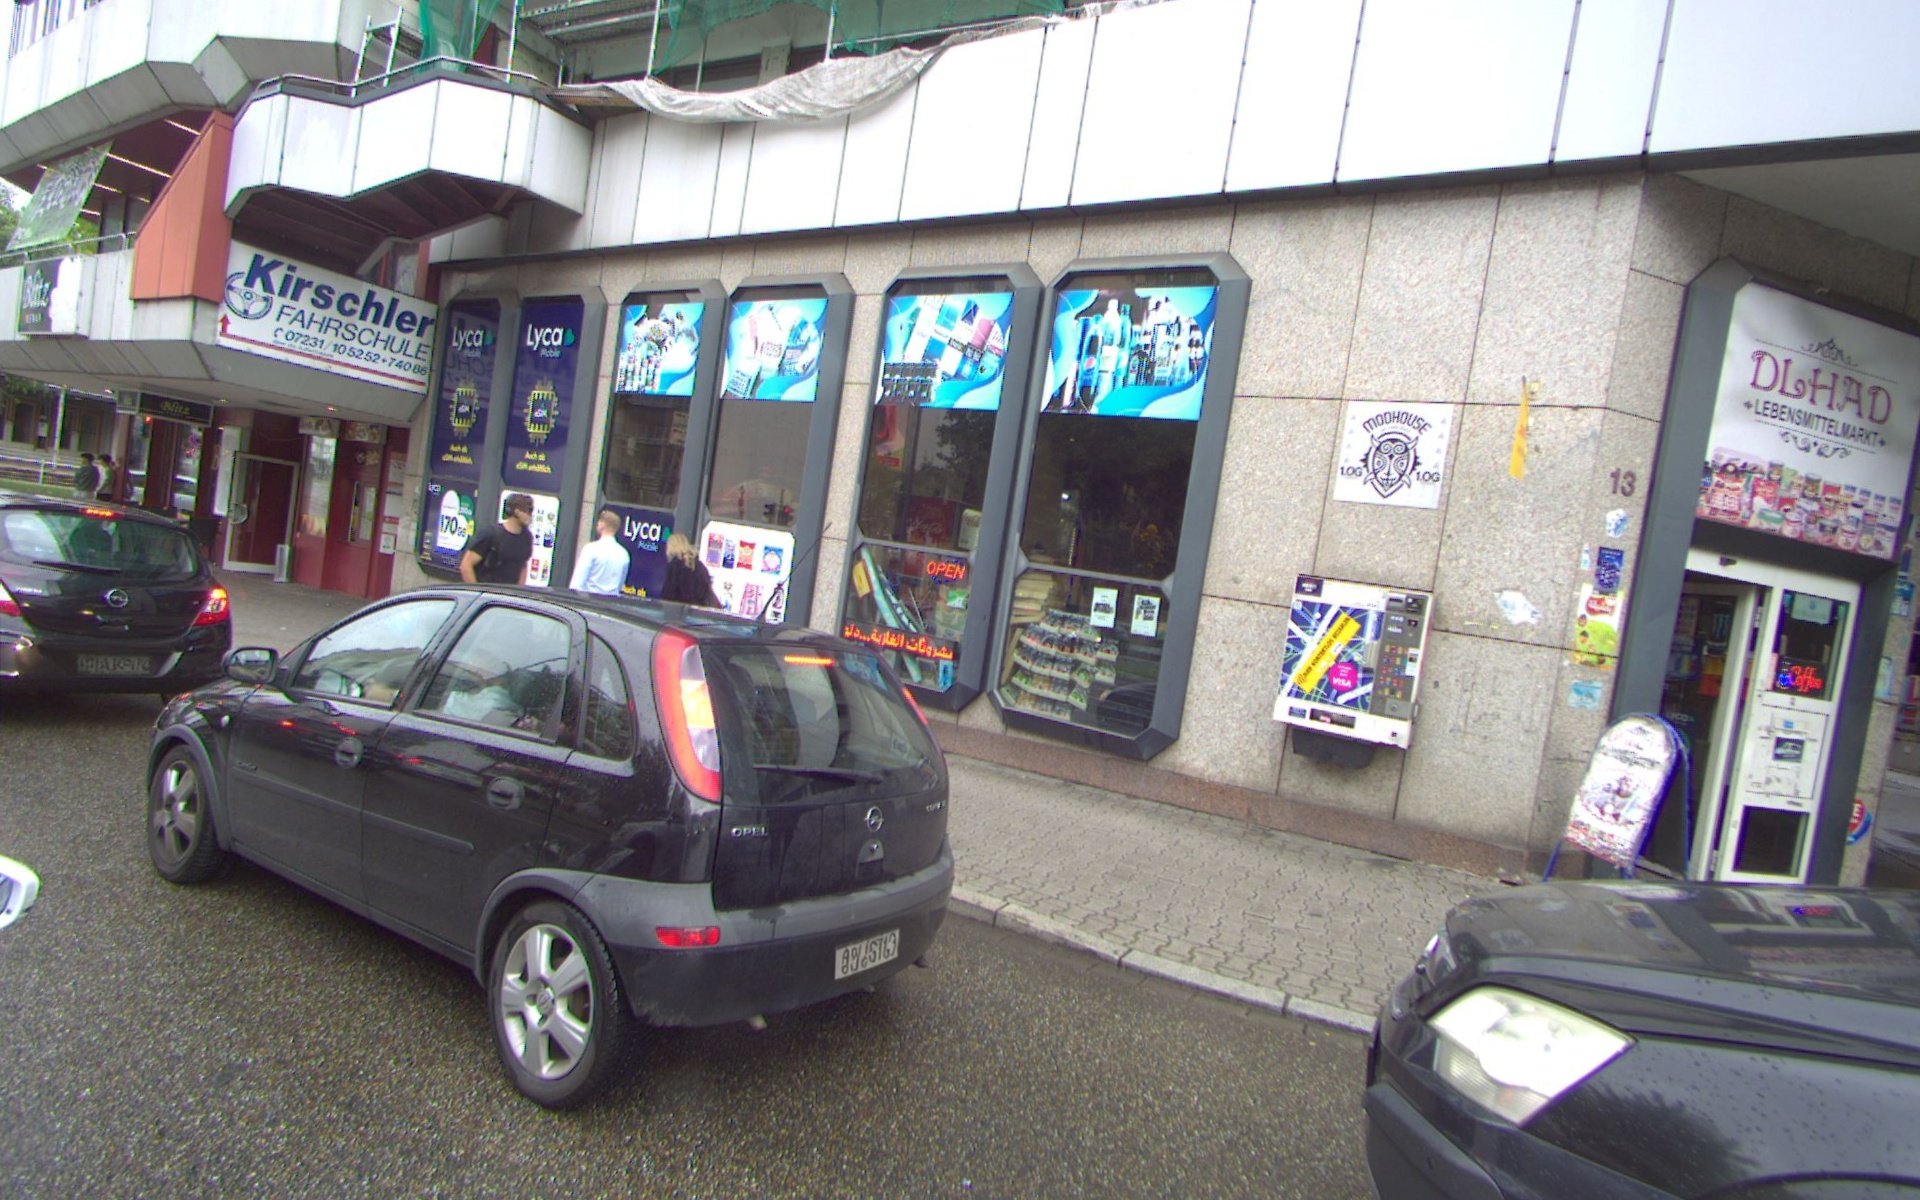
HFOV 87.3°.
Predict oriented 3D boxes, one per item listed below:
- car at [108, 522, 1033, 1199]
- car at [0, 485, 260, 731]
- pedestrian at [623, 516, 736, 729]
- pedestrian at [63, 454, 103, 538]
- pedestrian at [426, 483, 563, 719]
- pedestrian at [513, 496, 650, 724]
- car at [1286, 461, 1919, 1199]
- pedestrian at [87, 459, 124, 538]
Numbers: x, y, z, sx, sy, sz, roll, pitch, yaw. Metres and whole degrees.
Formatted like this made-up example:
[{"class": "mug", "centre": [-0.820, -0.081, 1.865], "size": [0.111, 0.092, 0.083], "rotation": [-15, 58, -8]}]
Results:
[{"class": "car", "centre": [-1.725, 0.652, 4.103], "size": [3.563, 1.446, 1.609], "rotation": [8, -1, 33]}, {"class": "car", "centre": [-7.087, -0.109, 7.348], "size": [3.776, 1.446, 1.620], "rotation": [8, -1, 29]}, {"class": "pedestrian", "centre": [-2.734, 0.202, 9.815], "size": [0.629, 1.961, 0.736], "rotation": [6, 4, 31]}, {"class": "pedestrian", "centre": [-18.628, -2.203, 21.361], "size": [0.443, 1.704, 0.426], "rotation": [6, 1, 30]}, {"class": "pedestrian", "centre": [-3.866, -0.005, 8.351], "size": [0.763, 1.841, 0.739], "rotation": [7, 4, 43]}, {"class": "pedestrian", "centre": [-3.420, 0.103, 9.121], "size": [0.629, 1.957, 0.737], "rotation": [6, -1, 31]}, {"class": "car", "centre": [2.799, 0.956, 1.426], "size": [4.095, 1.786, 1.763], "rotation": [8, -1, 32]}, {"class": "pedestrian", "centre": [-18.689, -2.215, 22.012], "size": [0.496, 1.660, 0.396], "rotation": [6, 1, 32]}]
